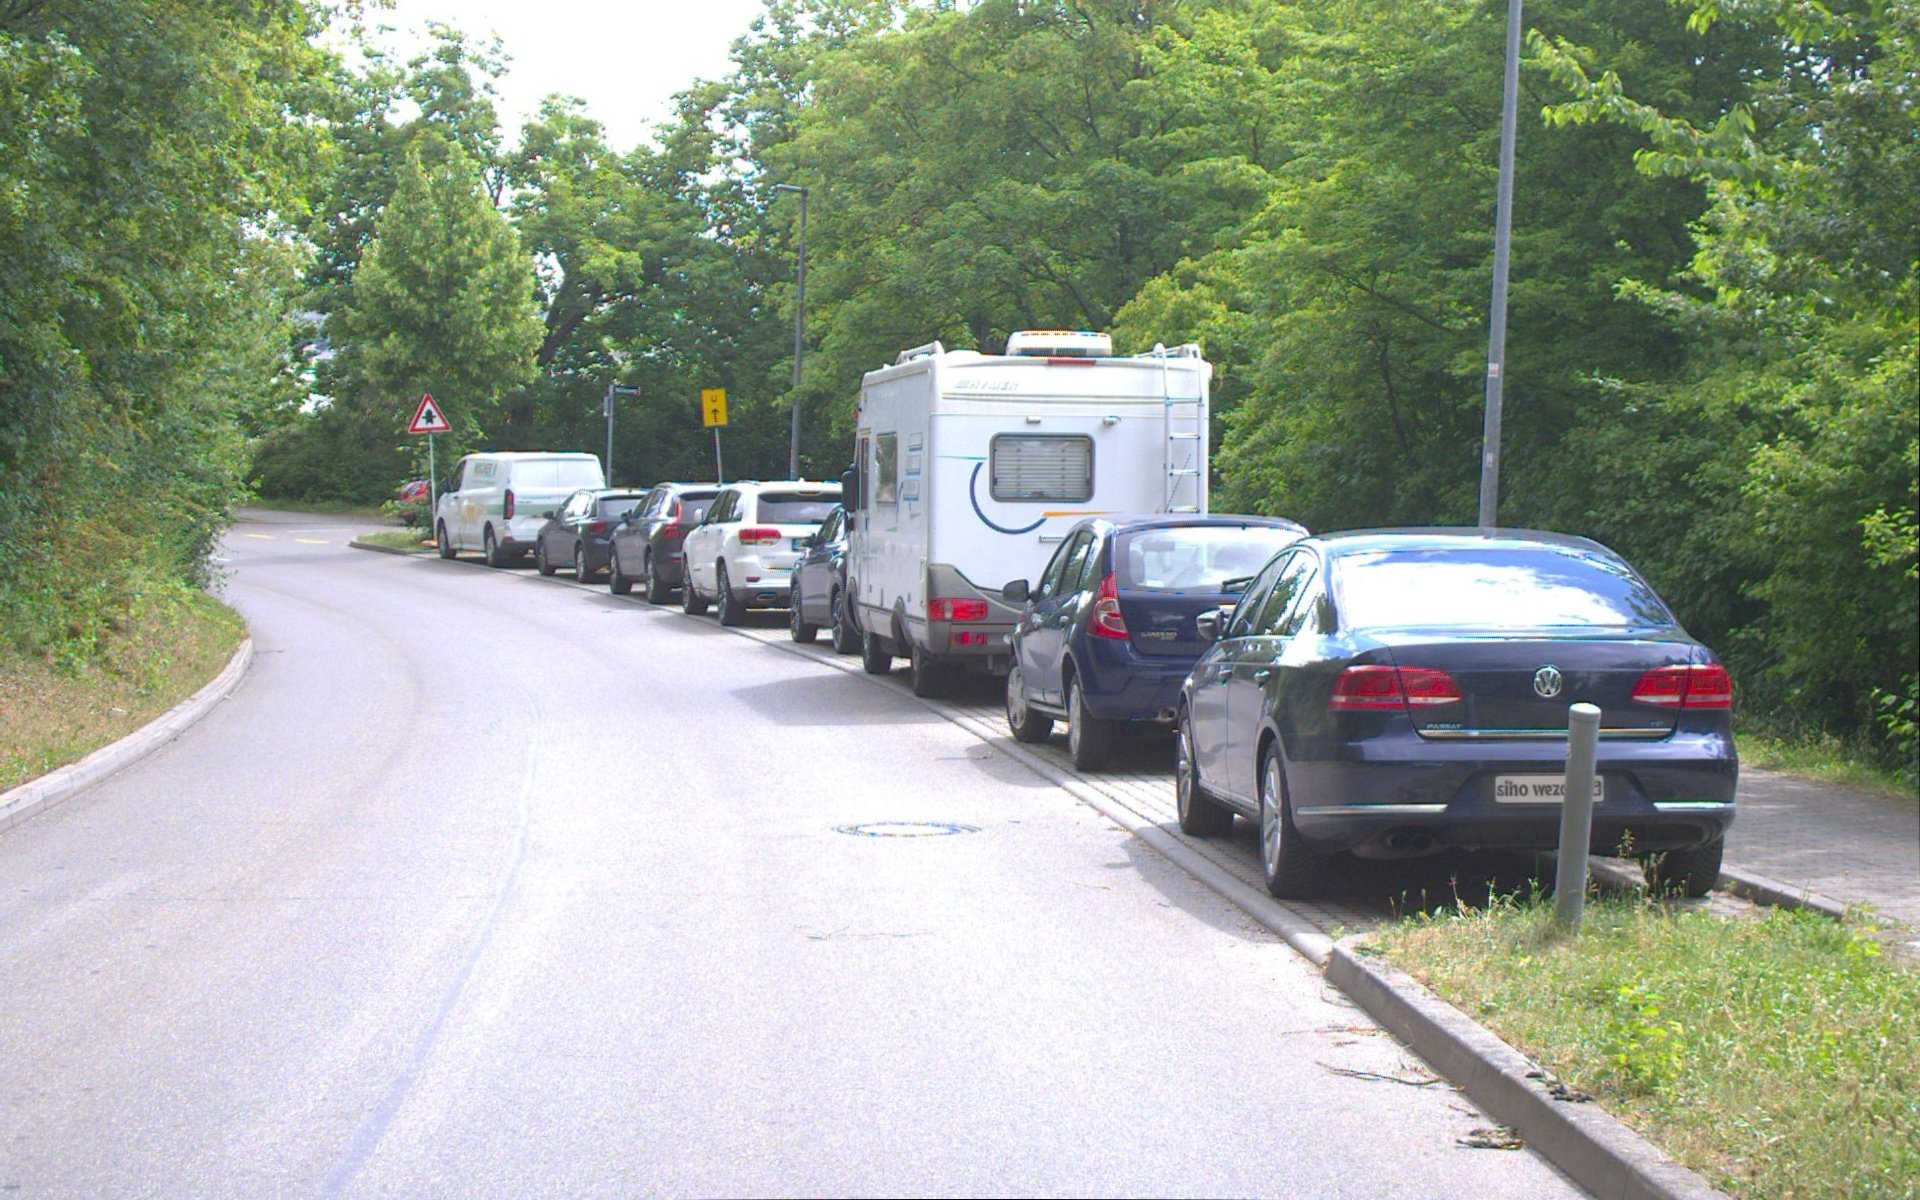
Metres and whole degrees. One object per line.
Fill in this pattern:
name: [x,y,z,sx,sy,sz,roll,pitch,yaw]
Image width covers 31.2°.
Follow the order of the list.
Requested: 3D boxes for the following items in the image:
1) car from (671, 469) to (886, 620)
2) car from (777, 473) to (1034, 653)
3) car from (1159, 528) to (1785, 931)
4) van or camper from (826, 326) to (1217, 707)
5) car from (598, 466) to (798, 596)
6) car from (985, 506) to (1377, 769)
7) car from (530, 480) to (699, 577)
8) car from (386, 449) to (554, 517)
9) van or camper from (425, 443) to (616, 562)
car: [-2.311,-0.730,42.537,1.871,1.683,4.581,1,2,-13]
car: [-0.626,-0.430,35.536,1.710,1.586,4.002,-7,3,-13]
car: [1.999,0.427,14.728,1.775,1.429,4.334,0,2,-4]
van or camper: [0.364,-0.731,29.422,2.332,2.859,6.152,1,2,-8]
car: [-3.722,-1.009,48.221,1.993,1.620,4.280,-2,4,-15]
car: [1.303,0.190,21.855,1.728,1.514,3.890,0,1,-8]
car: [-5.539,-1.158,54.745,1.797,1.459,4.002,0,2,-19]
car: [-11.292,-2.694,79.166,3.535,1.475,1.783,0,4,-19]
van or camper: [-7.767,-1.755,60.296,1.993,1.913,5.268,-1,4,-23]
